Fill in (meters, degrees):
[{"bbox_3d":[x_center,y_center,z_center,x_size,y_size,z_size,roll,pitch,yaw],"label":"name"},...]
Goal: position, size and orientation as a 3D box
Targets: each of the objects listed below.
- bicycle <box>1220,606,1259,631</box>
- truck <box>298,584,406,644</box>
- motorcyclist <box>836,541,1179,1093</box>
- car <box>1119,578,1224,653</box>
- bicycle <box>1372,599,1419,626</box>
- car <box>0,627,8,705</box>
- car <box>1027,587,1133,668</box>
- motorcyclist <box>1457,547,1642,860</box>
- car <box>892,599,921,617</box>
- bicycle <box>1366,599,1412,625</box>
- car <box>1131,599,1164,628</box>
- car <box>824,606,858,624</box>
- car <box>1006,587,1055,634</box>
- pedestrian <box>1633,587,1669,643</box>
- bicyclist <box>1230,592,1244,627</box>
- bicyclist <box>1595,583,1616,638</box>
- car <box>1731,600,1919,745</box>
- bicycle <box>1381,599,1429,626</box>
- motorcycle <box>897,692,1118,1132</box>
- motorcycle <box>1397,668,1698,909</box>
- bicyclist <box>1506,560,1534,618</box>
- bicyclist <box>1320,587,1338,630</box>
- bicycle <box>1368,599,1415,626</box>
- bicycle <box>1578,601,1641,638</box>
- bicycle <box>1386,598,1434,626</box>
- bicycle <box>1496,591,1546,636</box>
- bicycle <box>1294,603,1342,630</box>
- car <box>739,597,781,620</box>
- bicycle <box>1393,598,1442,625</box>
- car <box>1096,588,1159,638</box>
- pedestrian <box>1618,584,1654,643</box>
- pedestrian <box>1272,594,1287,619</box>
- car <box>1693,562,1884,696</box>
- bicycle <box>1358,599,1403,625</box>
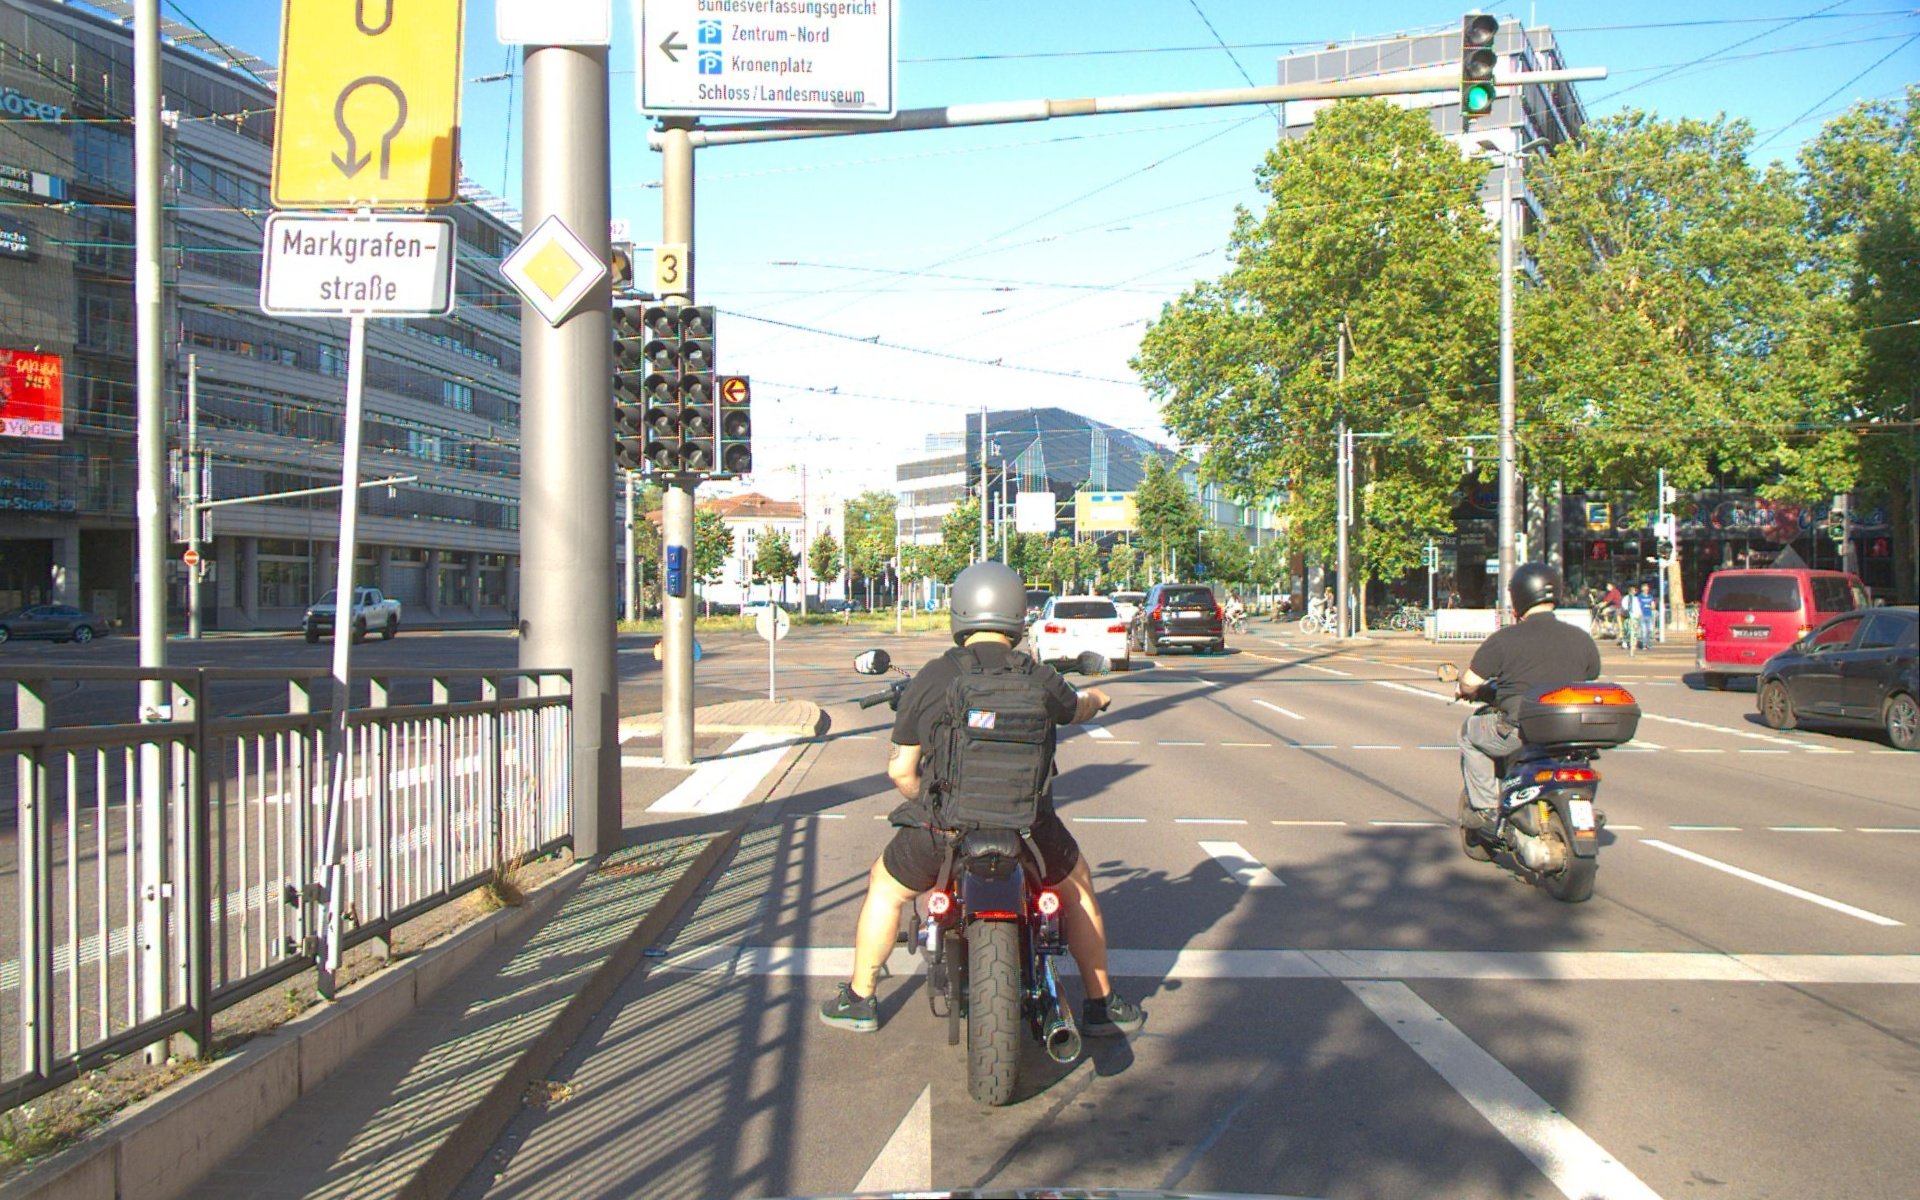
[{"bbox_3d":[11.243,0.739,66.481,0.354,0.942,1.807,2,-1,-36],"label":"bicycle"},{"bbox_3d":[-21.098,0.500,57.632,1.954,1.912,5.153,-2,-1,-2],"label":"truck"},{"bbox_3d":[0.134,0.637,5.315,1.009,1.621,0.873,0,0,-1],"label":"motorcyclist"},{"bbox_3d":[5.303,0.339,41.969,1.698,1.762,4.607,1,1,-5],"label":"car"},{"bbox_3d":[18.104,0.525,68.786,1.842,1.065,0.360,1,-1,-2],"label":"bicycle"},{"bbox_3d":[-14.607,0.897,22.335,2.835,1.081,1.235,1,-1,-22],"label":"car"},{"bbox_3d":[2.325,0.531,33.023,1.696,1.482,4.417,1,-1,-1],"label":"car"},{"bbox_3d":[3.135,0.538,8.830,0.780,1.607,0.529,1,-1,-2],"label":"motorcyclist"},{"bbox_3d":[-4.950,0.735,153.527,1.712,1.550,4.003,1,-1,13],"label":"car"},{"bbox_3d":[18.088,0.515,69.772,1.842,1.064,0.360,1,0,-2],"label":"bicycle"},{"bbox_3d":[11.448,0.852,100.952,1.765,1.708,4.044,1,-1,9],"label":"car"},{"bbox_3d":[-9.638,1.228,134.187,1.786,1.455,4.244,1,-1,11],"label":"car"},{"bbox_3d":[2.642,0.407,62.394,1.766,1.708,4.042,1,-1,2],"label":"car"},{"bbox_3d":[18.574,0.402,44.453,0.559,1.505,0.697,1,-1,-25],"label":"pedestrian"},{"bbox_3d":[11.156,0.373,66.605,0.341,1.397,0.377,2,-1,-37],"label":"bicyclist"},{"bbox_3d":[22.221,0.354,56.933,0.572,1.870,0.402,1,-1,-1],"label":"bicyclist"},{"bbox_3d":[10.712,0.767,18.939,1.697,1.475,4.038,1,0,-4],"label":"car"},{"bbox_3d":[18.187,0.504,67.600,1.842,1.065,0.360,1,-1,-2],"label":"bicycle"},{"bbox_3d":[0.113,0.916,5.640,0.588,1.054,2.233,1,0,-1],"label":"motorcycle"},{"bbox_3d":[3.136,0.956,9.130,0.787,1.069,2.375,1,-1,-1],"label":"motorcycle"},{"bbox_3d":[17.838,-0.341,52.691,0.682,1.840,0.729,1,-1,3],"label":"bicyclist"},{"bbox_3d":[14.595,0.334,65.417,0.673,1.702,0.541,0,-1,18],"label":"bicyclist"},{"bbox_3d":[18.064,0.516,69.271,1.842,1.064,0.360,1,0,-2],"label":"bicycle"},{"bbox_3d":[22.334,0.670,56.925,2.001,1.235,0.421,1,-1,-1],"label":"bicycle"},{"bbox_3d":[18.158,0.483,66.785,1.842,1.065,0.360,1,-1,-2],"label":"bicycle"},{"bbox_3d":[17.843,0.426,52.668,0.710,1.391,2.918,1,-1,3],"label":"bicycle"},{"bbox_3d":[14.174,0.656,65.531,1.831,1.062,0.537,0,-1,18],"label":"bicycle"},{"bbox_3d":[-13.626,0.573,112.828,1.786,1.455,4.534,0,0,7],"label":"car"},{"bbox_3d":[18.243,0.465,66.005,1.842,1.065,0.360,1,-1,-2],"label":"bicycle"},{"bbox_3d":[5.721,0.406,56.881,1.696,1.626,4.040,1,1,-1],"label":"car"},{"bbox_3d":[18.056,0.358,44.181,0.558,1.559,0.697,1,-1,-24],"label":"pedestrian"},{"bbox_3d":[17.592,0.351,91.071,0.802,1.337,0.638,1,-1,8],"label":"pedestrian"},{"bbox_3d":[13.885,0.455,27.601,1.777,2.044,4.447,1,0,41],"label":"car"},{"bbox_3d":[18.031,0.515,70.922,1.842,1.064,0.360,1,0,-2],"label":"bicycle"}]
